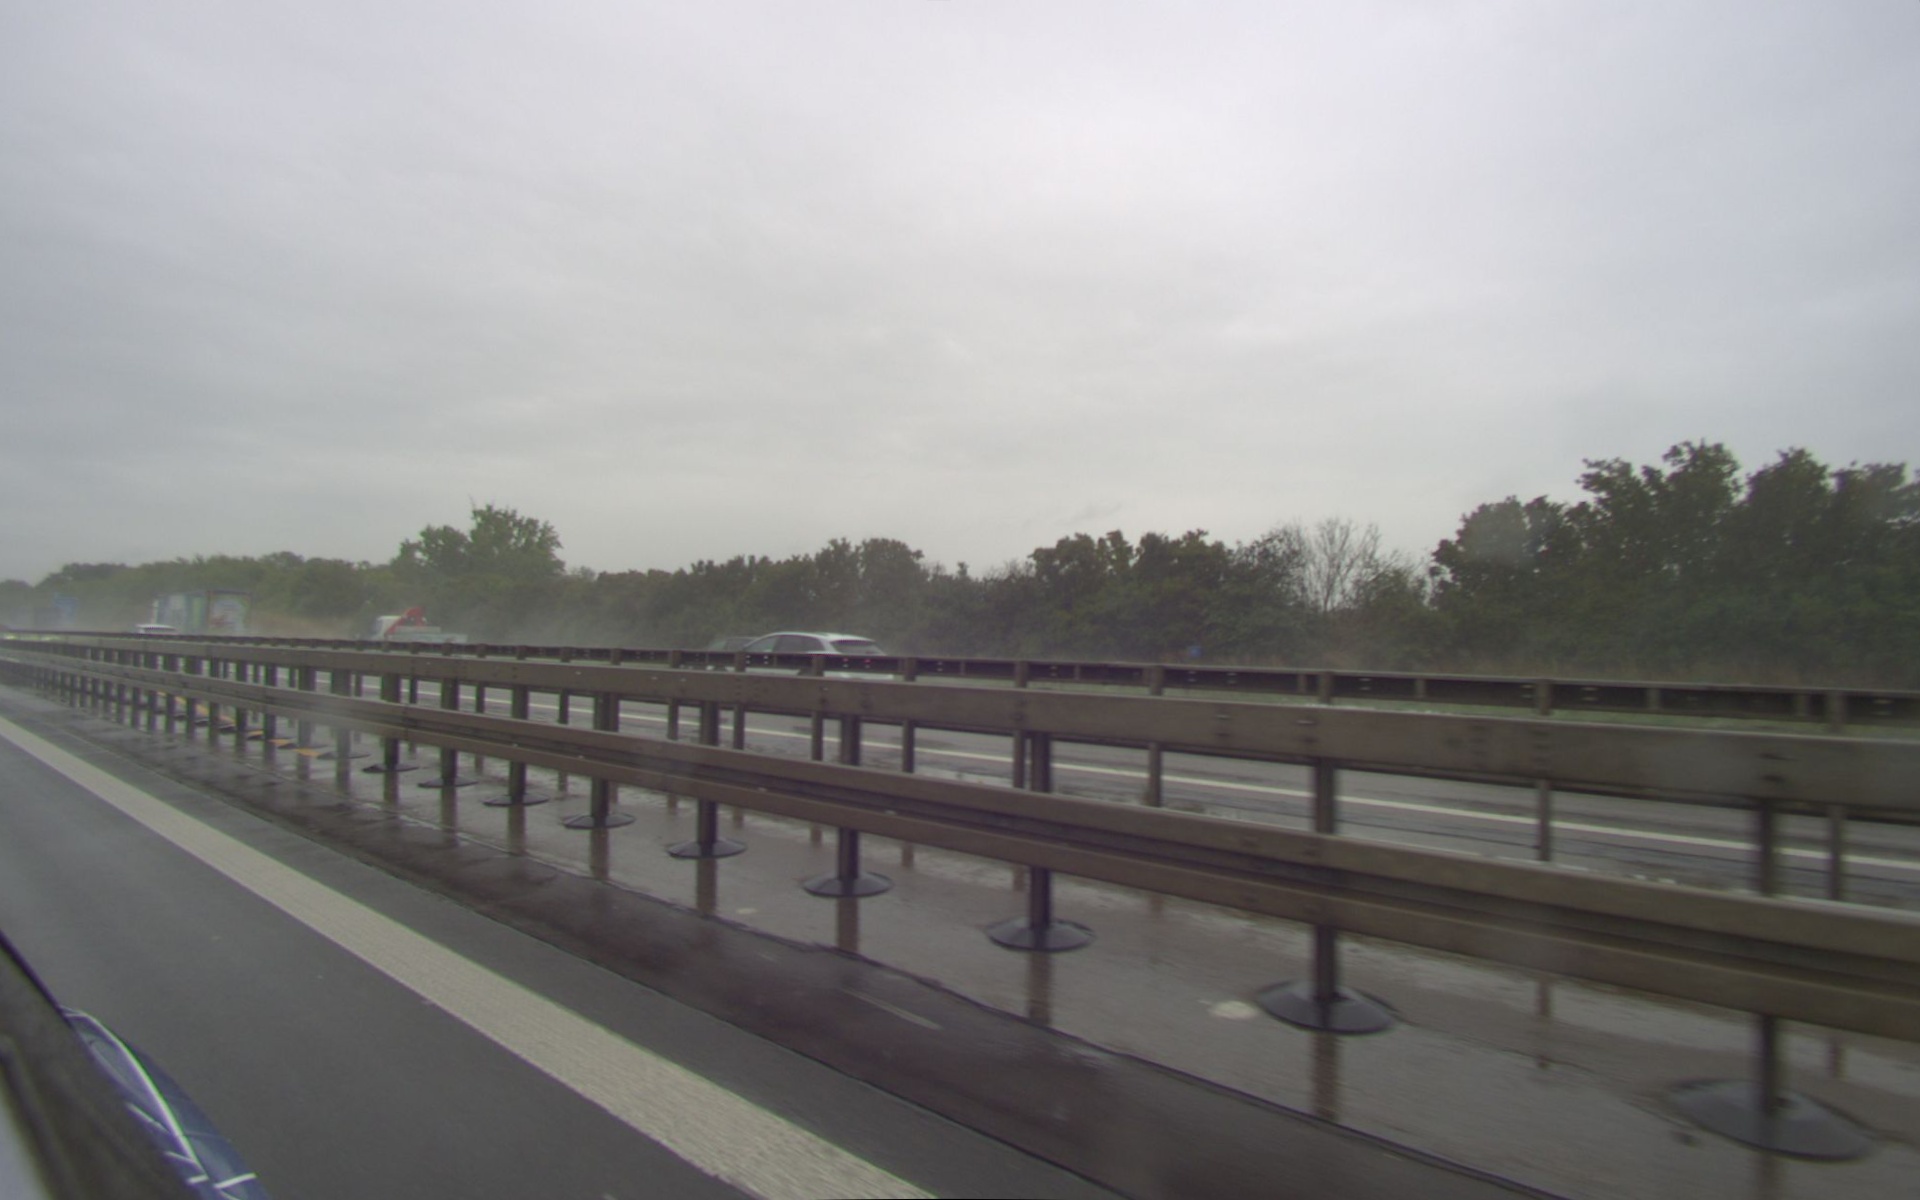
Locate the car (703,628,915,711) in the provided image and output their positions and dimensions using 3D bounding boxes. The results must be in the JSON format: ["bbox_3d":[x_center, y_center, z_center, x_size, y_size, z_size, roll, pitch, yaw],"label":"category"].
[{"bbox_3d":[-3.352,1.400,21.897,4.652,1.542,1.973,-1,0,41],"label":"car"}]

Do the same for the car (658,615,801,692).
[{"bbox_3d":[-6.997,1.533,30.472,4.383,2.120,1.973,-1,0,41],"label":"car"}]

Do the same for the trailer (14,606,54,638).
[{"bbox_3d":[-114.927,2.732,125.513,13.606,3.833,2.271,-1,0,42],"label":"trailer"}]

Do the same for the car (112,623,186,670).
[{"bbox_3d":[-39.211,2.208,48.893,4.763,2.120,1.973,-1,0,41],"label":"car"}]

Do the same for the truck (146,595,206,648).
[{"bbox_3d":[-58.979,1.573,76.101,5.398,3.834,2.595,-1,0,41],"label":"truck"}]

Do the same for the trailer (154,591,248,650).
[{"bbox_3d":[-53.685,1.446,71.354,13.579,3.833,2.606,-1,0,42],"label":"trailer"}]

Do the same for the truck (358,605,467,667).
[{"bbox_3d":[-25.245,1.609,46.549,6.260,2.639,2.303,-1,0,41],"label":"truck"}]
